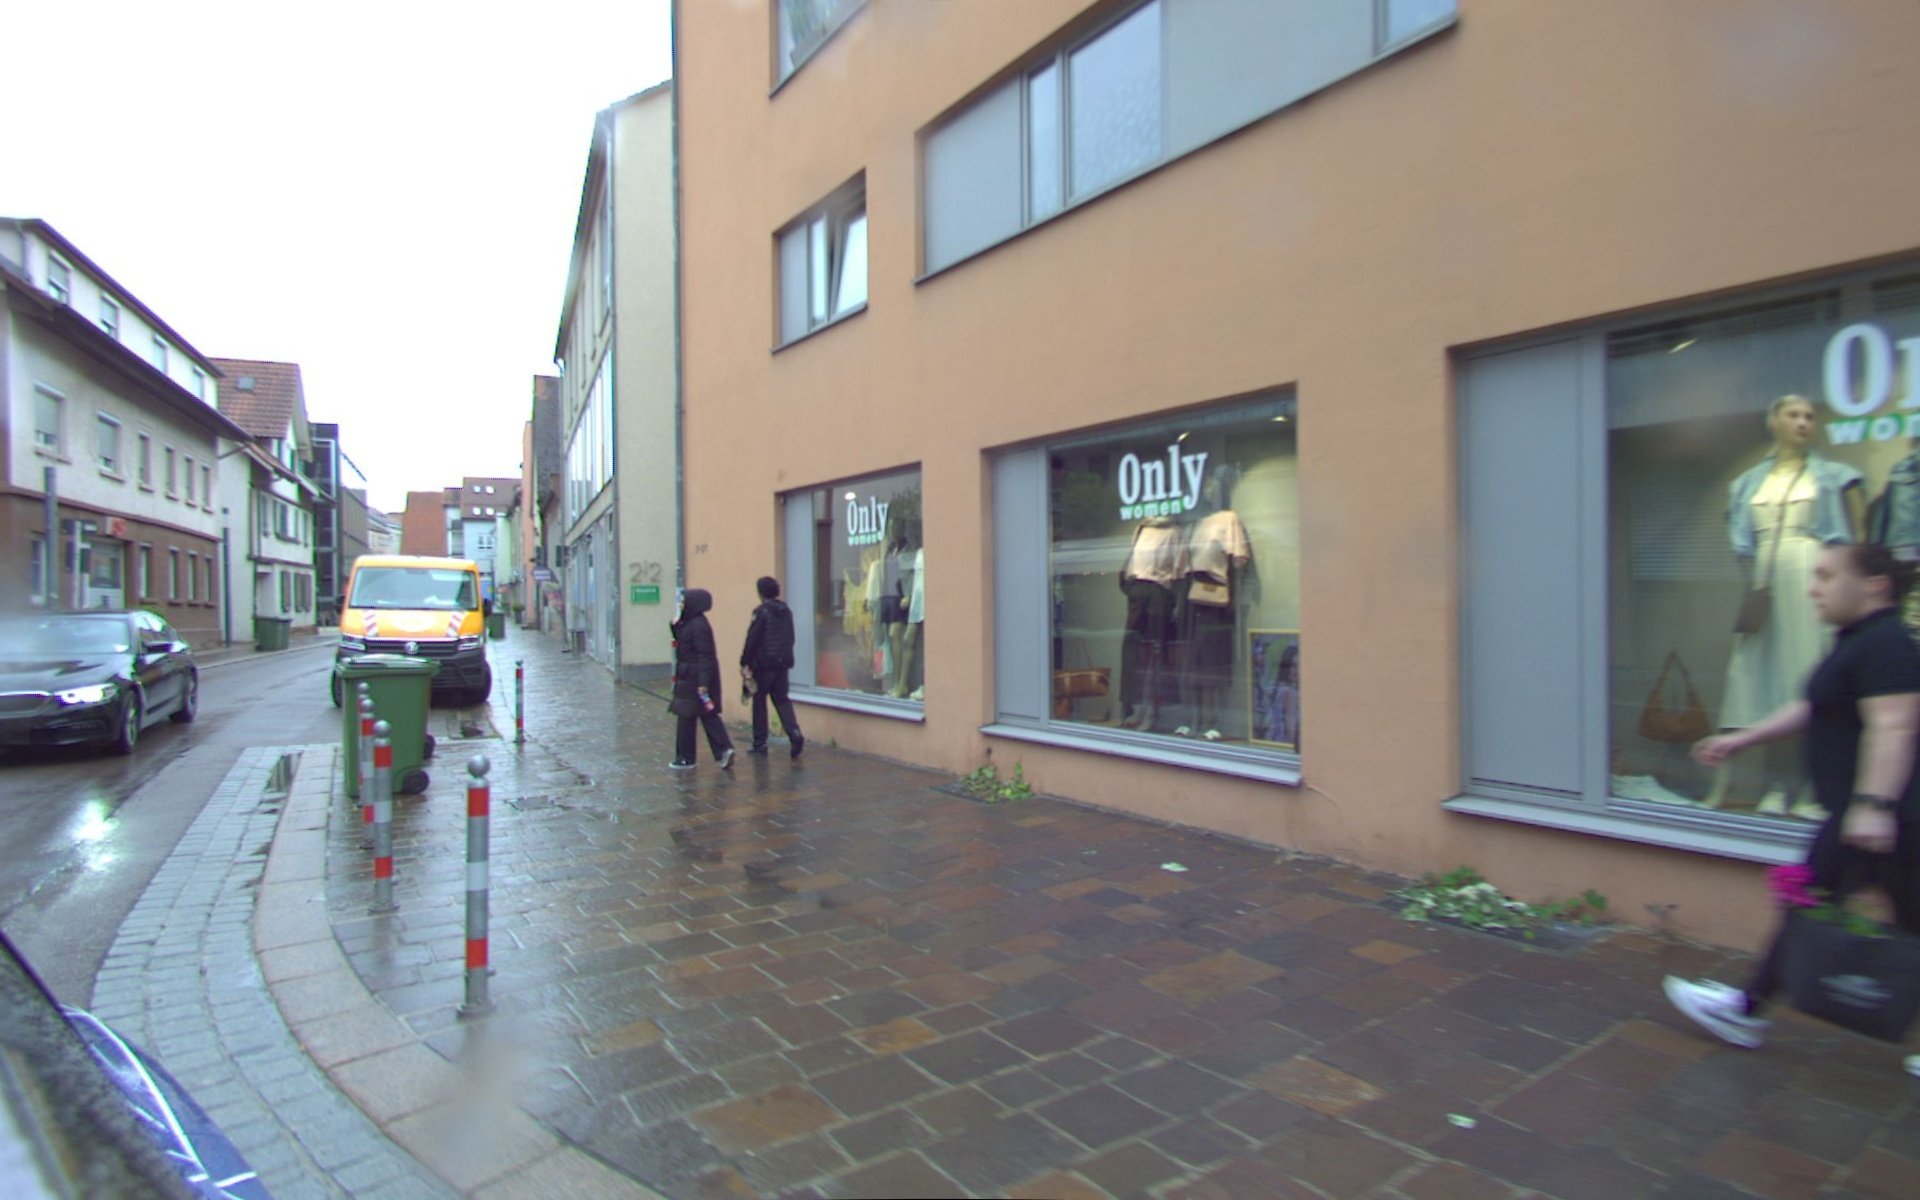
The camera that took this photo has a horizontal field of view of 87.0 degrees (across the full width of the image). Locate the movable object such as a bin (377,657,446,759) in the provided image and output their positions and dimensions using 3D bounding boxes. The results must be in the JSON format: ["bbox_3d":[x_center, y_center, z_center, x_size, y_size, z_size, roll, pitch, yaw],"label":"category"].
[{"bbox_3d":[-5.388,1.049,9.959,0.573,0.934,0.483,0,-1,-26],"label":"movable object such as a bin"}]

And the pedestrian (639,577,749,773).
[{"bbox_3d":[-2.399,0.636,9.118,0.705,1.652,0.747,-2,1,-33],"label":"pedestrian"}]

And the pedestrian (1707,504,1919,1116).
[{"bbox_3d":[2.735,0.557,2.969,0.651,1.622,0.686,0,-1,-36],"label":"pedestrian"}]

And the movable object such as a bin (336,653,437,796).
[{"bbox_3d":[-4.630,0.970,8.160,0.647,1.044,0.611,0,0,-35],"label":"movable object such as a bin"}]

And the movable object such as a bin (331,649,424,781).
[{"bbox_3d":[-5.046,0.965,8.762,0.647,1.044,0.611,0,0,-35],"label":"movable object such as a bin"}]

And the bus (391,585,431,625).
[{"bbox_3d":[-45.559,0.417,84.135,2.567,3.218,7.400,0,-1,-26],"label":"bus"}]

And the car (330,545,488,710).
[{"bbox_3d":[-9.125,0.396,16.927,1.965,2.256,5.880,0,0,-28],"label":"car"}]

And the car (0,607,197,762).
[{"bbox_3d":[-10.015,0.794,11.176,1.915,1.413,4.434,0,0,-29],"label":"car"}]

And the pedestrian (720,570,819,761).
[{"bbox_3d":[-1.840,0.593,9.722,0.614,1.725,0.811,-2,1,-33],"label":"pedestrian"}]
